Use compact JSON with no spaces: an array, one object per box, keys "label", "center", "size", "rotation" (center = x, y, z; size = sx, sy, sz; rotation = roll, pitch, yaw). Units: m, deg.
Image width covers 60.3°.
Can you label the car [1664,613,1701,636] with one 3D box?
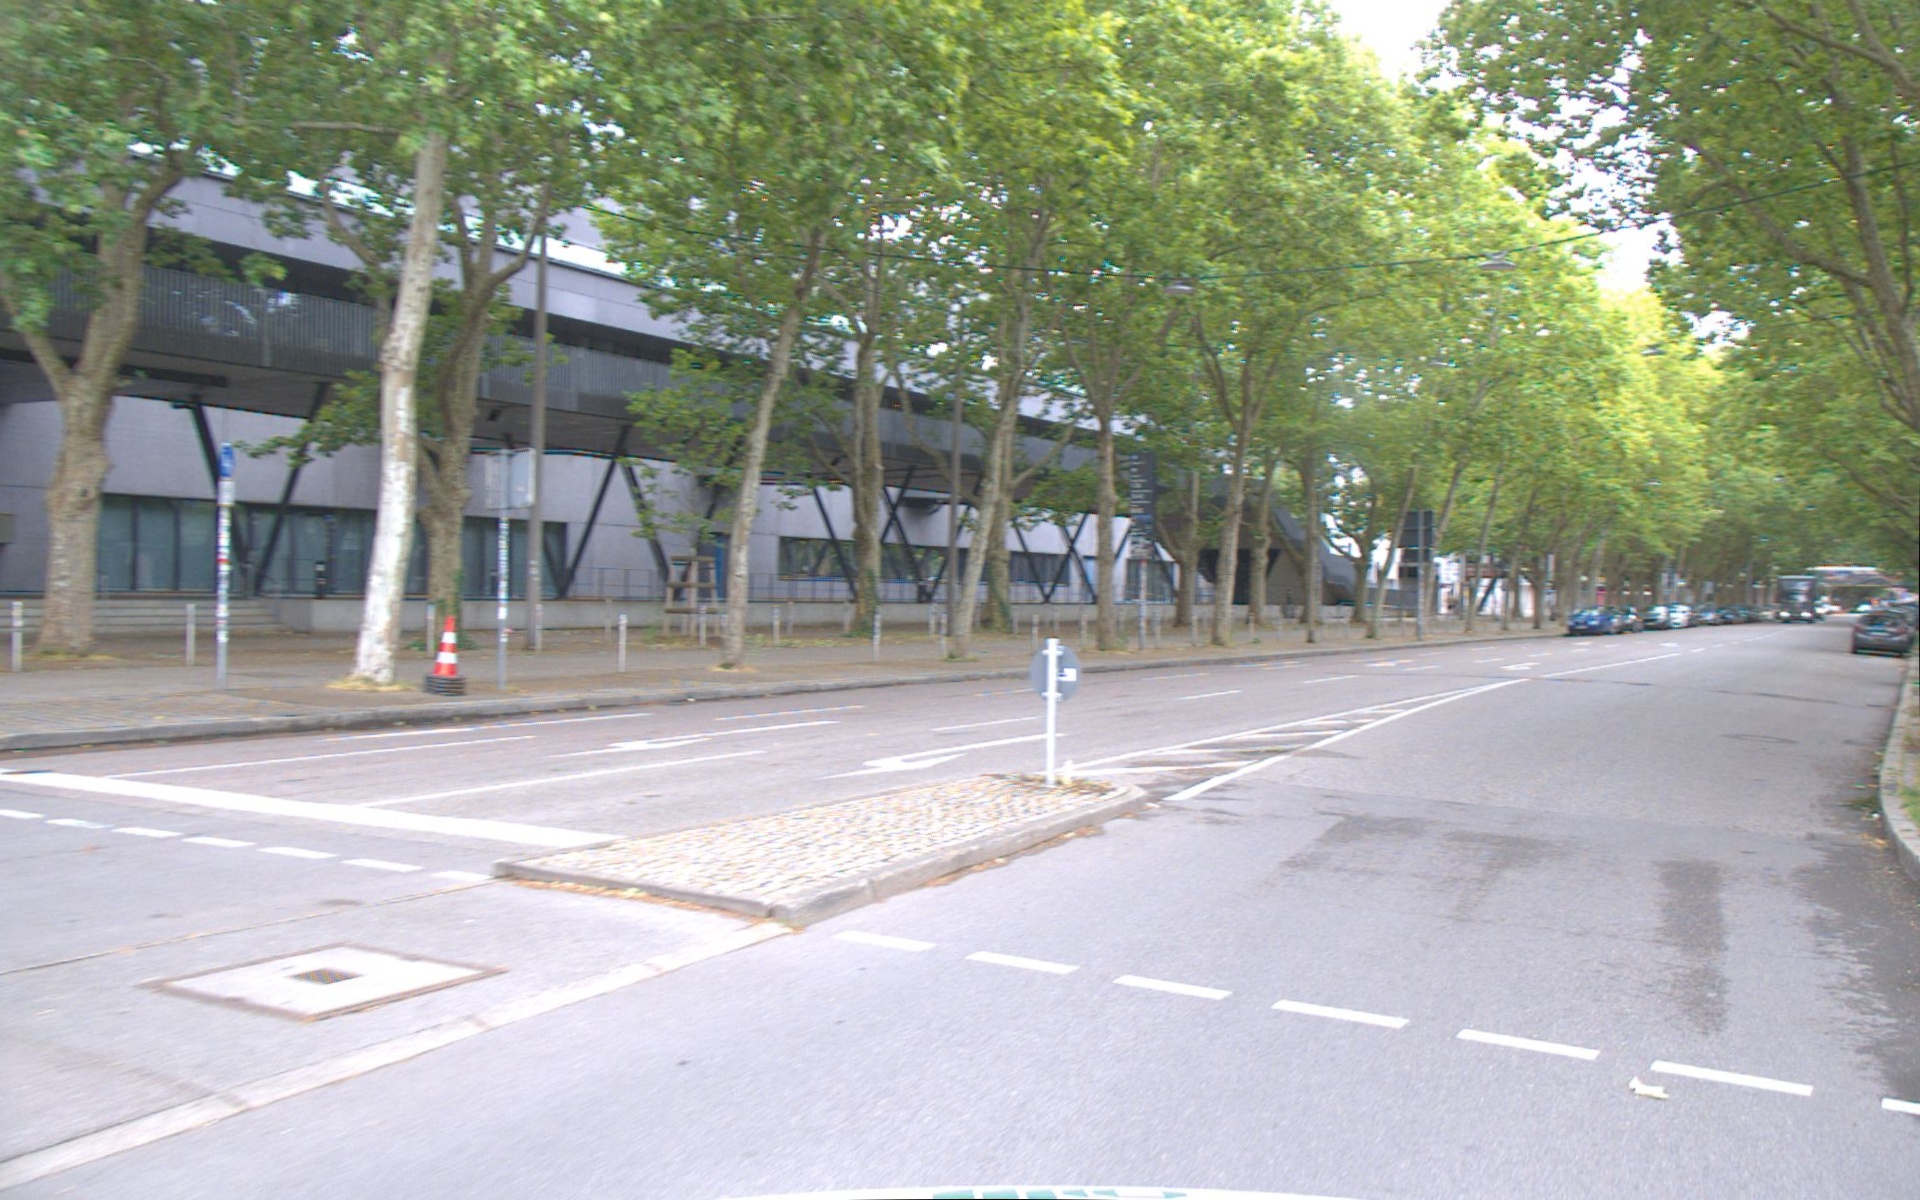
[{"label":"car","center":[45.125,1.553,103.289],"size":[1.700,1.355,3.992],"rotation":[0,-2,30]}]

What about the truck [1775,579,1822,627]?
[{"label":"truck","center":[71.243,0.316,140.441],"size":[2.594,3.970,9.513],"rotation":[-1,-1,33]}]

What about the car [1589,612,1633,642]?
[{"label":"car","center":[33.519,1.399,85.113],"size":[1.731,1.444,3.756],"rotation":[-2,-3,27]}]

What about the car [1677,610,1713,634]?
[{"label":"car","center":[48.079,1.457,108.168],"size":[1.859,1.463,3.993],"rotation":[0,-2,29]}]

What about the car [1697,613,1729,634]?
[{"label":"car","center":[54.963,1.712,120.729],"size":[1.859,1.463,3.993],"rotation":[0,-2,29]}]

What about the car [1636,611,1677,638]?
[{"label":"car","center":[40.988,1.453,97.329],"size":[1.733,1.444,3.753],"rotation":[-2,-3,30]}]

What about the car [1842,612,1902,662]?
[{"label":"car","center":[32.465,1.290,58.824],"size":[1.668,1.545,4.444],"rotation":[5,2,30]}]

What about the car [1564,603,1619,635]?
[{"label":"car","center":[30.861,0.951,80.808],"size":[1.666,1.444,3.748],"rotation":[-3,-3,35]}]

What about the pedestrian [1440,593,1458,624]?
[{"label":"pedestrian","center":[30.014,0.497,101.567],"size":[0.754,1.867,0.878],"rotation":[1,0,-3]}]
